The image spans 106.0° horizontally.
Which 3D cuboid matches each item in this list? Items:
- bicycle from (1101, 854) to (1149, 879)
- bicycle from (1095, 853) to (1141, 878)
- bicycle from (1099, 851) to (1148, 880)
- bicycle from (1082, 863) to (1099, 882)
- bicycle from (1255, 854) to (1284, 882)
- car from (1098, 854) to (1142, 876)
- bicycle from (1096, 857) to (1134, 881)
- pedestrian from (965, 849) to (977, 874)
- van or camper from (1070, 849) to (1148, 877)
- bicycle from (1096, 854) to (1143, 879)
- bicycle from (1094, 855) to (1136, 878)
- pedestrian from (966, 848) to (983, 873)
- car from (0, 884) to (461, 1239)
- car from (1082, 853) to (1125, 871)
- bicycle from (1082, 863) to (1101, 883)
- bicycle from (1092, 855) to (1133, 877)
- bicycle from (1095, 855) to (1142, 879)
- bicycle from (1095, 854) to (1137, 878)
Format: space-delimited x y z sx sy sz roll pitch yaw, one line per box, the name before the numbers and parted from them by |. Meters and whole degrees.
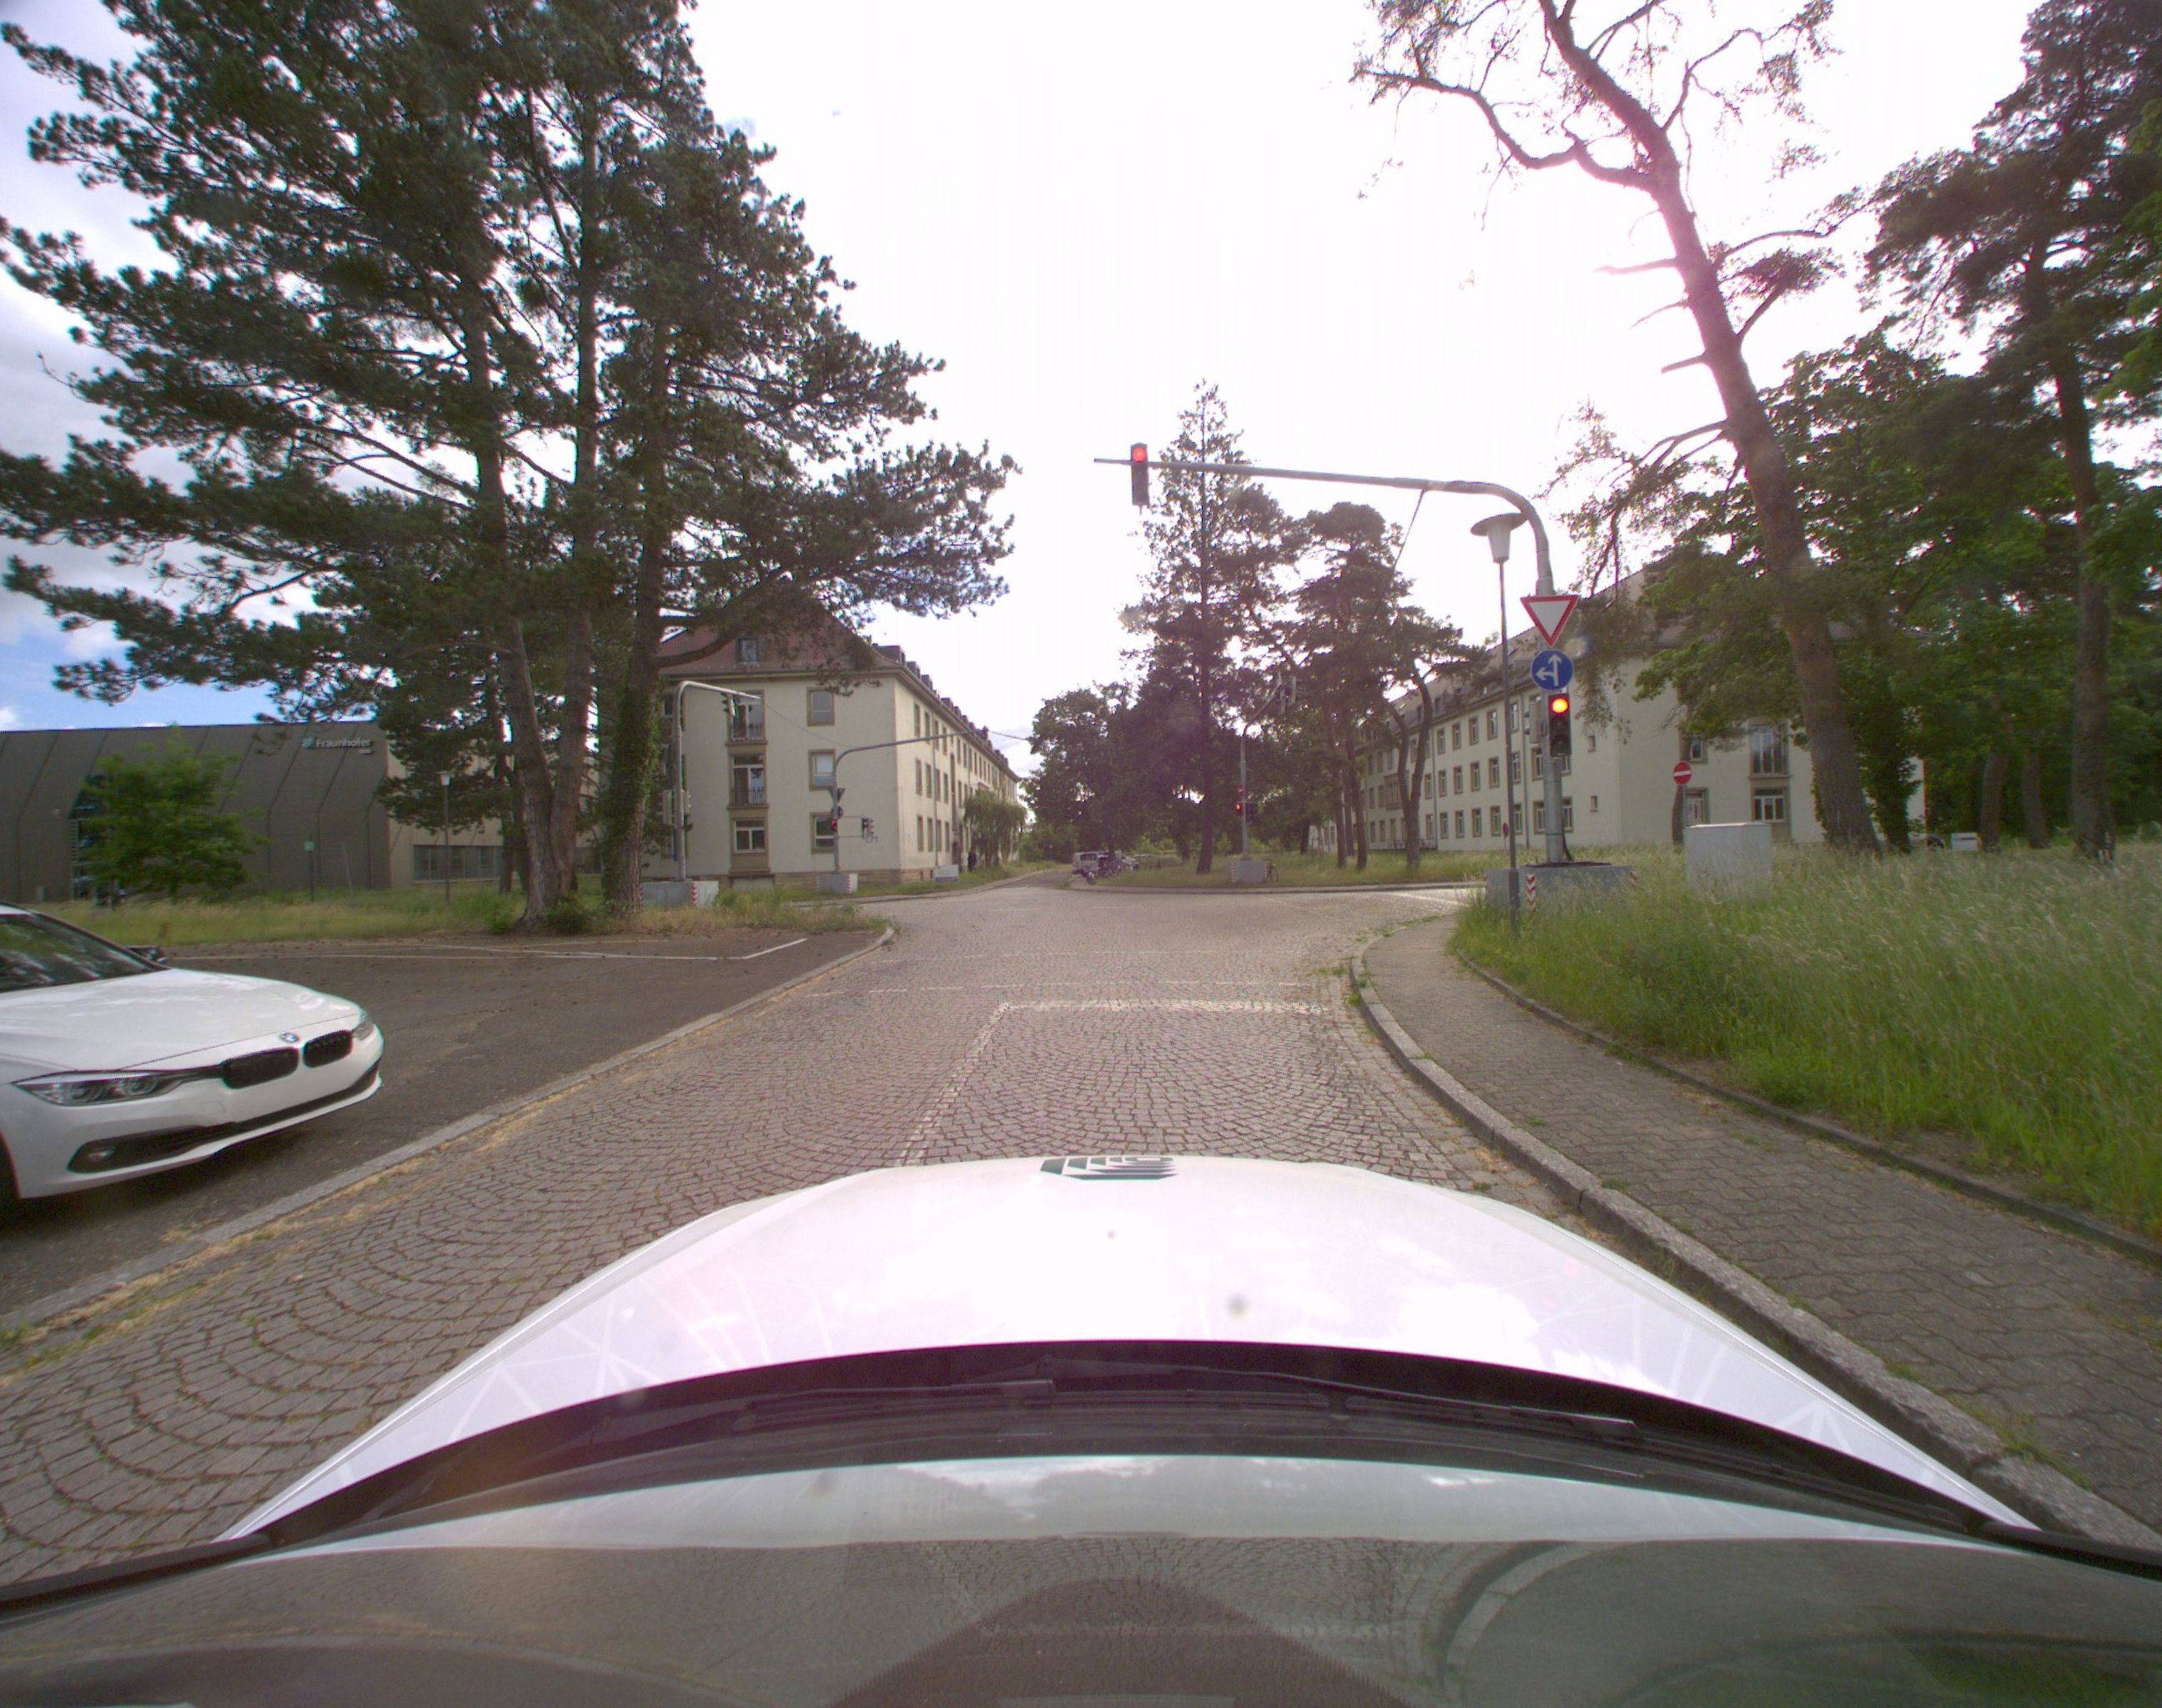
bicycle | 2.618 0.749 48.506 2.793 1.372 0.950 -2 0 0
bicycle | 2.108 0.669 46.710 2.610 1.367 0.874 -2 0 0
bicycle | 2.469 0.646 47.577 2.793 1.583 0.950 -2 -1 0
bicycle | 0.511 0.994 44.822 0.724 0.996 1.982 -2 0 6
bicycle | 7.839 0.583 33.955 0.643 1.062 1.832 -5 0 -2
car | 2.864 0.810 60.703 3.214 1.621 1.937 -1 -1 0
bicycle | 1.912 0.840 46.098 2.106 1.306 0.874 -2 0 0
pedestrian | -8.384 0.566 62.227 0.865 1.932 0.834 0 -1 -11
van or camper | 2.181 0.677 64.220 5.745 1.957 2.229 -2 0 -12
bicycle | 2.302 0.758 49.043 2.793 1.372 0.950 -2 0 0
bicycle | 2.162 0.760 51.741 2.560 1.372 0.950 -2 0 -1
pedestrian | -8.063 0.508 61.432 1.194 1.870 1.545 0 -1 -9
car | -6.546 0.919 4.420 4.792 1.439 1.912 1 0 -1
car | 2.121 0.765 78.049 3.976 1.600 1.702 -2 0 -2
bicycle | 0.547 0.970 42.729 0.897 0.996 1.978 -2 0 0
bicycle | 2.015 0.771 52.580 2.560 1.372 0.950 -2 0 -1
bicycle | 2.289 0.768 49.937 2.793 1.372 0.950 -2 0 0
bicycle | 2.160 0.751 50.901 2.560 1.372 0.950 -2 0 -1
